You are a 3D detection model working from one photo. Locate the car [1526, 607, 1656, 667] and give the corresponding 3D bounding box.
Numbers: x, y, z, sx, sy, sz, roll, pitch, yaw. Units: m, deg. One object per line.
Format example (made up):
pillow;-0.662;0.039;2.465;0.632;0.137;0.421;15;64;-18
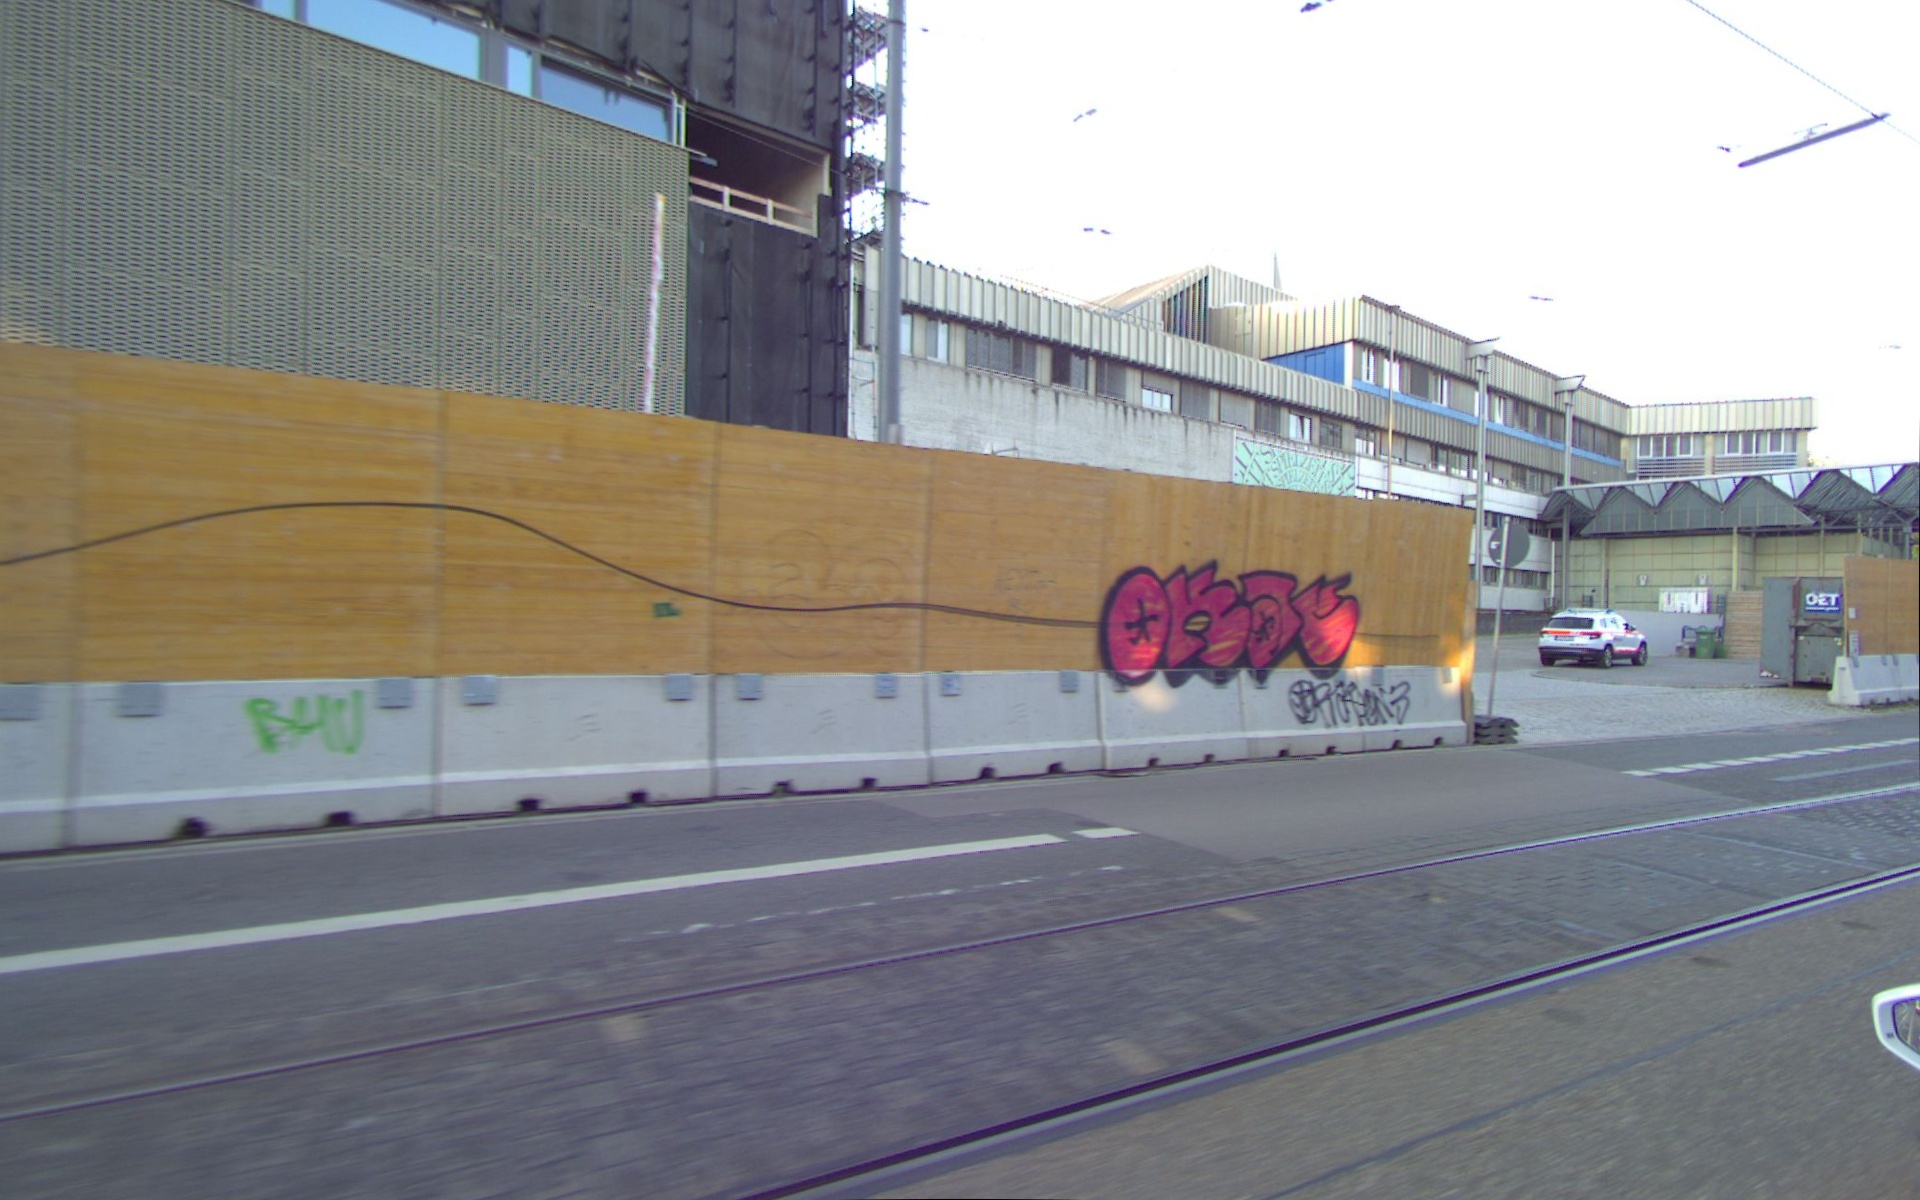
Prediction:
car;19.204;1.099;30.509;4.240;1.686;1.979;1;0;-37
